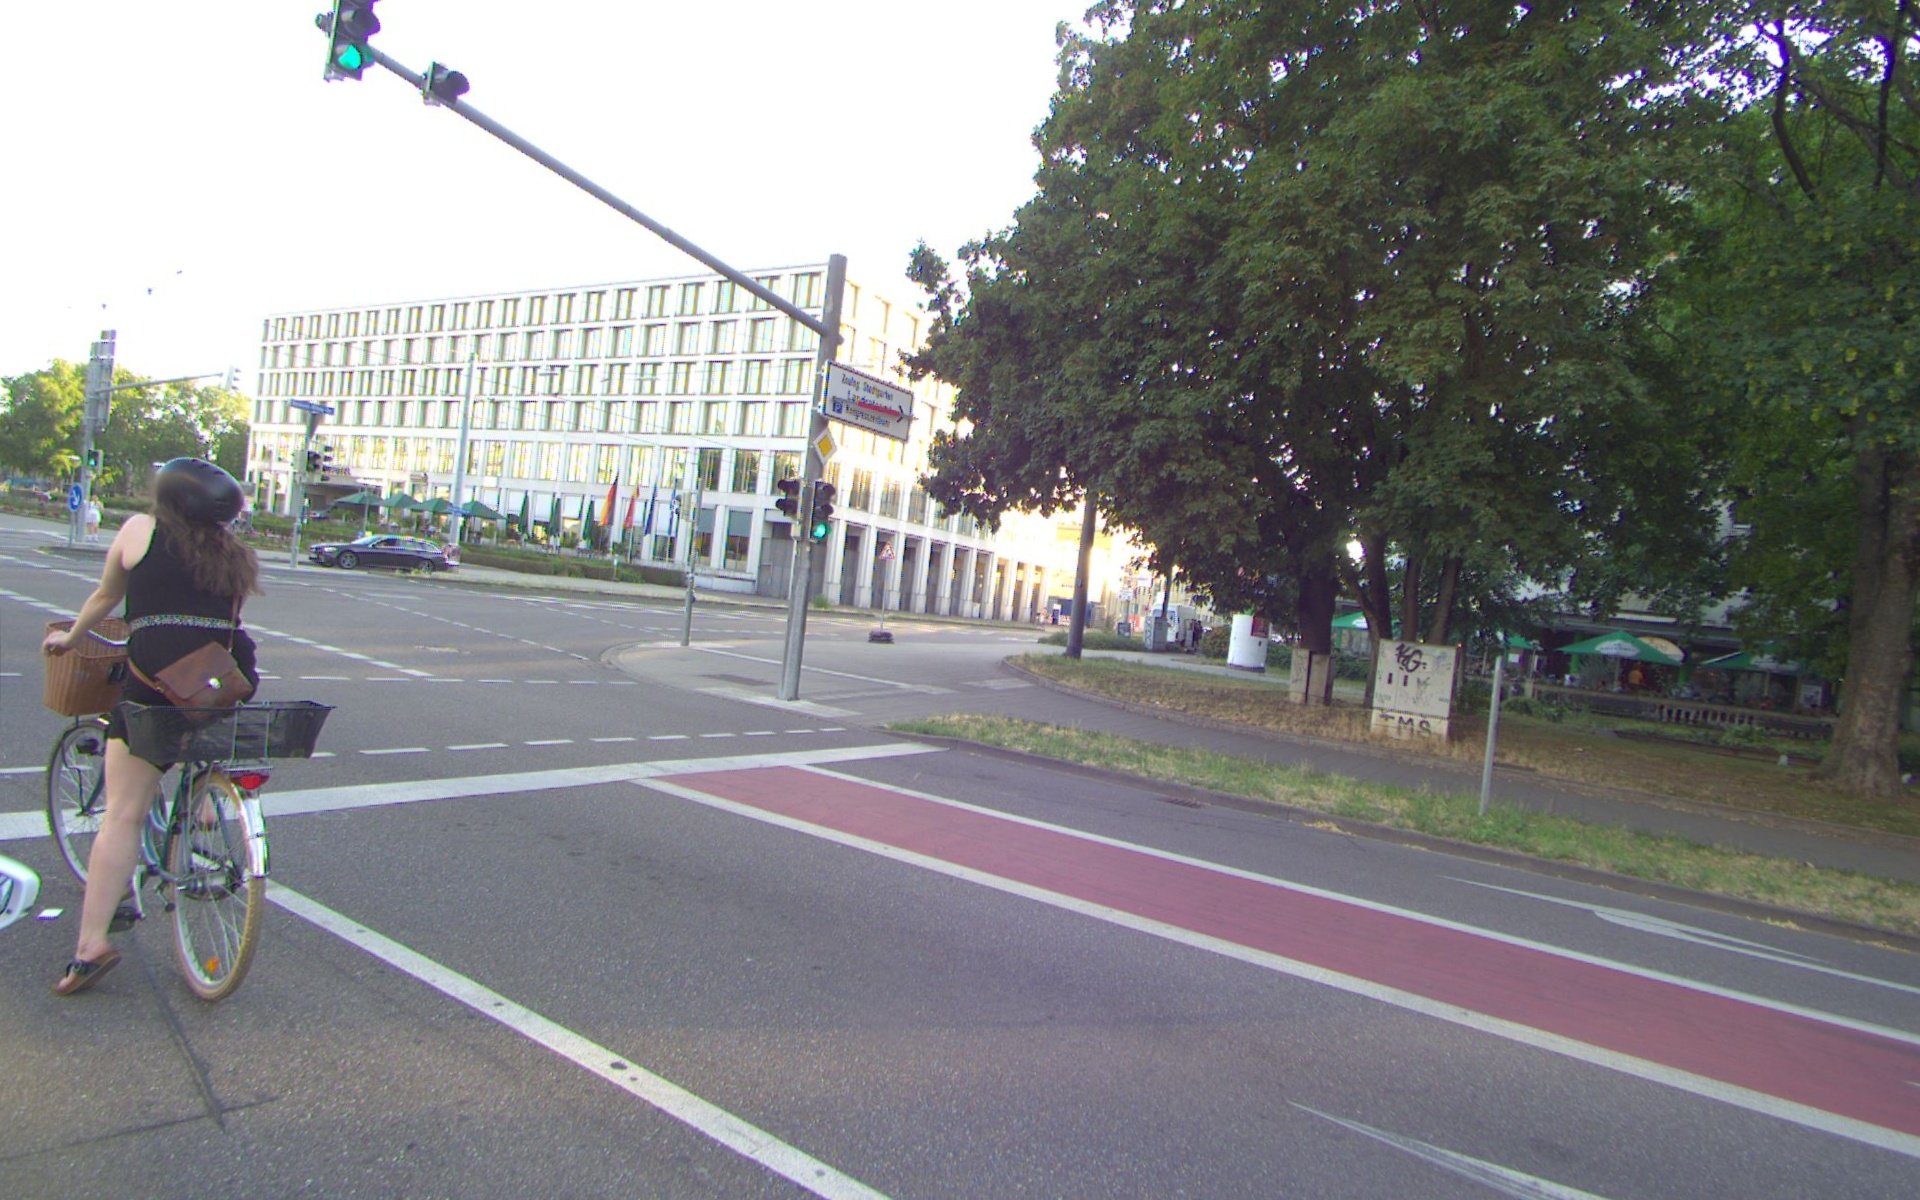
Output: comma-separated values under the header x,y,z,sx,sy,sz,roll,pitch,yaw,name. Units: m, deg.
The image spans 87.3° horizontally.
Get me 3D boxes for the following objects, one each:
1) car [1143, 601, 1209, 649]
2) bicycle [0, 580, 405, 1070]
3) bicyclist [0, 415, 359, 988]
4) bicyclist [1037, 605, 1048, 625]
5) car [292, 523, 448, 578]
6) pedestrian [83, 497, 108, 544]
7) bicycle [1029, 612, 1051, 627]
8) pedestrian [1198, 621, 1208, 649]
x,y,z,sx,sy,sz,roll,pitch,yaw,name
11.970,1.401,55.522,1.967,2.318,4.605,6,0,31,car
-2.816,0.604,3.442,1.971,1.146,0.612,7,-1,32,bicycle
-2.702,0.270,3.402,0.982,1.655,0.600,7,0,32,bicyclist
6.876,1.239,83.813,0.567,1.556,0.708,7,1,29,bicyclist
-23.050,-1.907,39.480,1.968,1.534,4.826,7,0,34,car
-30.515,-2.803,35.503,0.402,1.559,0.491,7,2,31,pedestrian
6.682,1.637,83.534,0.592,1.120,2.775,7,0,29,bicycle
13.480,1.933,55.823,0.302,1.525,0.336,6,-1,31,pedestrian
